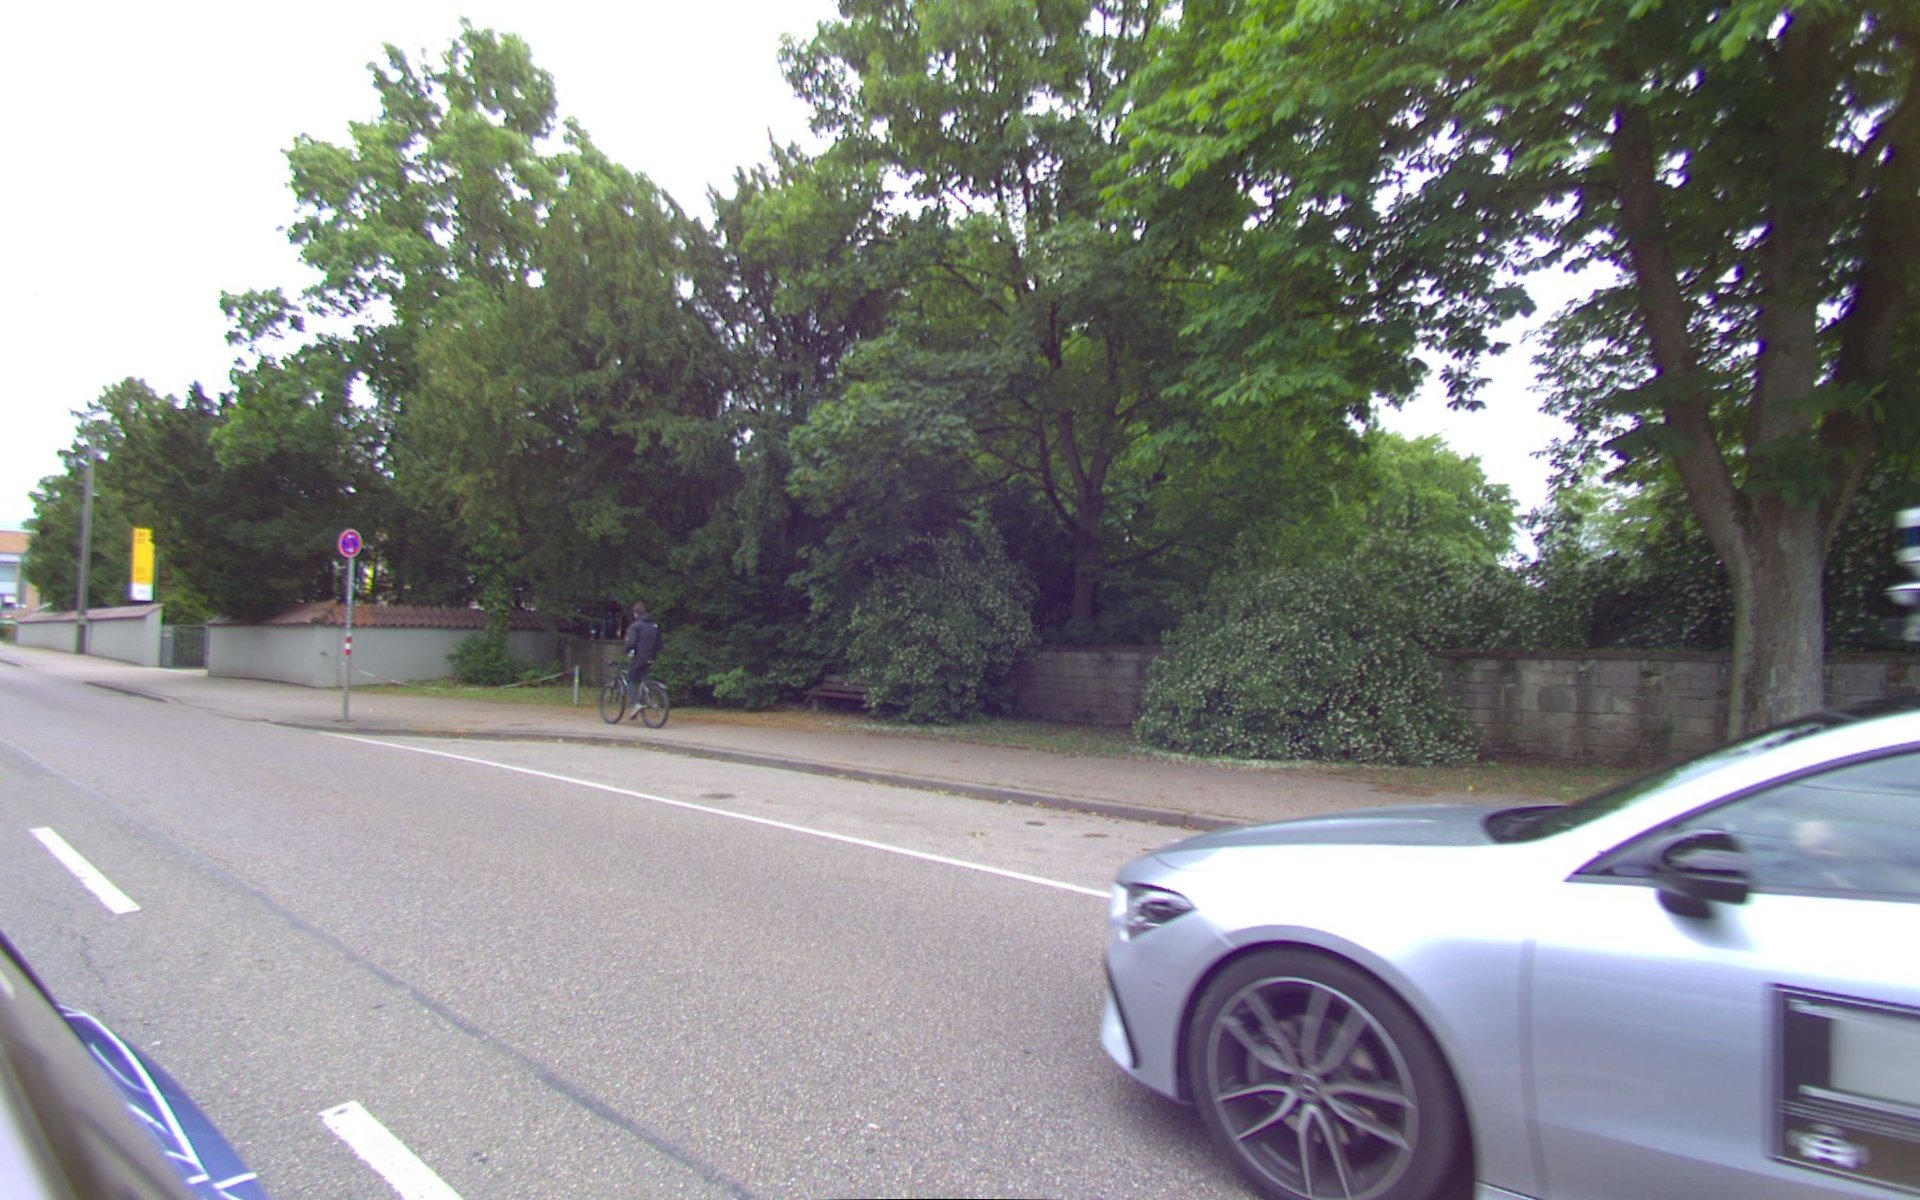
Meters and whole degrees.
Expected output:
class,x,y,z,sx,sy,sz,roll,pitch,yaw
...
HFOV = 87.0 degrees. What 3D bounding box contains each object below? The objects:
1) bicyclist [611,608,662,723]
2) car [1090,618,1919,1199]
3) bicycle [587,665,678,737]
class,x,y,z,sx,sy,sz,roll,pitch,yaw
bicyclist,-4.908,0.977,15.347,0.588,1.697,0.482,-1,0,41
car,2.614,0.802,2.099,4.412,1.414,1.738,-1,-5,41
bicycle,-5.020,1.517,15.458,1.747,0.972,0.490,-1,0,41
